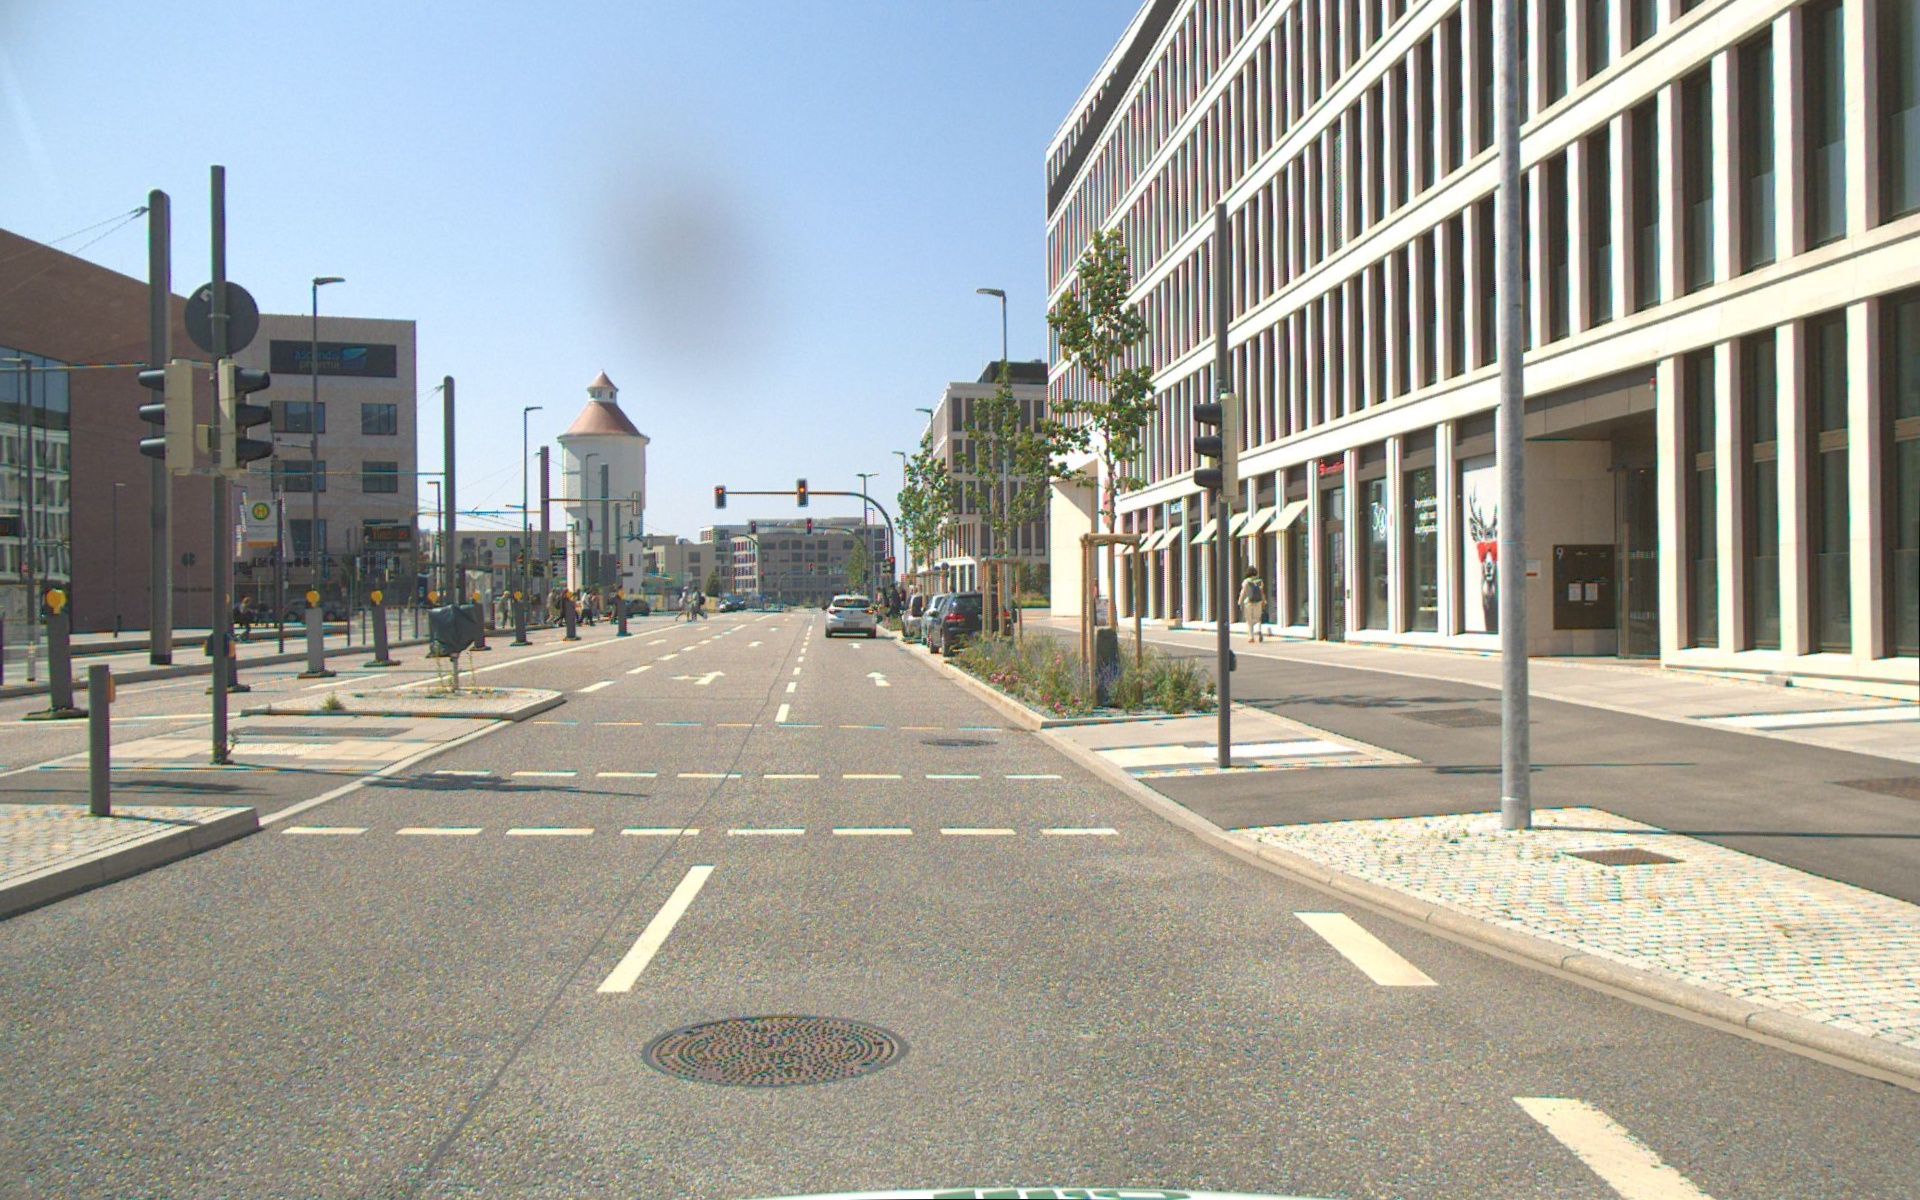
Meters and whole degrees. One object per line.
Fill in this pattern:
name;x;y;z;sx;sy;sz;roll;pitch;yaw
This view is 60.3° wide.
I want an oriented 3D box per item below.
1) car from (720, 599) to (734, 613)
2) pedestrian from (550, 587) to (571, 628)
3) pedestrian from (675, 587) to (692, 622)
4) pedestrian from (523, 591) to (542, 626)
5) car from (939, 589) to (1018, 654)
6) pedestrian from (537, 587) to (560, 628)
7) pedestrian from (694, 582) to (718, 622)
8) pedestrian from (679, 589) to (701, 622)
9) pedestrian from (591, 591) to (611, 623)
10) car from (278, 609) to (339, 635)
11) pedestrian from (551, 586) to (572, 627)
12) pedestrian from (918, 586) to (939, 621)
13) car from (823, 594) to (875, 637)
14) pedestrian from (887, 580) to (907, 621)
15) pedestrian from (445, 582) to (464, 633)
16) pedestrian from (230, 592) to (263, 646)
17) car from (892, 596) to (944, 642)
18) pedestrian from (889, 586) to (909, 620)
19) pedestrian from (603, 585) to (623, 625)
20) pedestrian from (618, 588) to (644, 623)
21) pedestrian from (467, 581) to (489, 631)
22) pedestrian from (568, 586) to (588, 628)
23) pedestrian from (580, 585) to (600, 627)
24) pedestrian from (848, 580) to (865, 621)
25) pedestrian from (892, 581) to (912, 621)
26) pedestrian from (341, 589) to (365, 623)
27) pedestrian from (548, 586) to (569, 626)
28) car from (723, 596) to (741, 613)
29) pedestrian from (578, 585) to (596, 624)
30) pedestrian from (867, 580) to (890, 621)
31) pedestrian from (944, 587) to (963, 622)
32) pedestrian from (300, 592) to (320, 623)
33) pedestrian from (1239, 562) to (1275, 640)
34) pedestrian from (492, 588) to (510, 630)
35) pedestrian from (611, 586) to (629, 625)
car;-26.502;0.709;187.937;1.557;1.557;3.251;0;-1;-8
pedestrian;-18.930;0.365;78.363;0.871;1.923;0.690;-1;0;-10
pedestrian;-13.836;0.229;82.692;0.751;1.764;0.691;-1;0;-4
pedestrian;-20.078;0.387;77.687;0.620;1.646;0.768;-1;0;1
car;0.403;0.518;40.252;1.702;1.500;3.978;0;-1;-3
pedestrian;-19.865;0.361;79.794;0.869;1.923;0.796;-1;0;0
pedestrian;-13.250;0.123;86.209;1.006;2.049;0.947;-1;0;-23
pedestrian;-14.007;0.293;85.749;0.881;1.703;1.006;-1;0;-23
pedestrian;-18.975;0.345;87.485;0.870;1.675;0.796;-1;0;-1
car;-46.603;1.564;118.325;3.878;1.848;1.790;0;-1;-17
pedestrian;-18.481;0.298;76.682;0.871;1.923;0.690;-1;0;-10
pedestrian;-1.504;0.153;79.062;0.871;1.663;0.690;-1;0;-10
car;-3.863;0.575;57.932;1.736;1.419;3.529;1;-1;-3
pedestrian;-3.001;0.005;78.722;0.871;1.923;0.794;-1;0;-10
pedestrian;-18.326;0.276;59.955;0.543;1.852;0.595;1;0;-26
pedestrian;-24.615;0.662;57.092;0.795;1.852;0.824;1;0;-5
car;-1.426;0.612;55.579;1.525;1.498;3.466;-1;0;-5
pedestrian;-3.030;0.142;82.105;0.873;1.675;0.793;-1;0;-15
pedestrian;-17.203;0.249;82.041;0.824;1.923;0.691;-1;0;-4
pedestrian;-17.294;0.281;87.037;1.157;1.852;1.068;-1;0;-1
pedestrian;-17.964;0.225;61.668;0.655;1.852;0.717;1;0;-28
pedestrian;-17.930;0.320;77.667;0.871;1.923;0.690;-1;0;-10
pedestrian;-17.158;0.282;76.701;0.871;1.923;0.690;-1;0;-10
pedestrian;-4.898;0.004;78.612;0.715;1.923;0.821;-1;0;1
pedestrian;-2.804;0.036;79.625;0.871;1.923;0.794;-1;0;-10
pedestrian;-34.365;0.323;93.664;0.869;1.923;0.985;-1;0;15
pedestrian;-19.605;0.292;80.782;0.870;1.923;0.795;-1;0;-5
car;-21.945;0.419;159.344;1.556;1.557;3.688;0;-1;-6
pedestrian;-18.621;0.219;82.578;0.719;1.923;0.713;1;-1;0
pedestrian;-3.826;0.032;77.546;0.994;1.923;0.797;-1;0;-8
pedestrian;-0.325;0.205;79.951;0.750;1.648;0.692;-1;0;12
pedestrian;-33.435;0.380;85.086;0.697;1.599;0.889;-1;0;-6
pedestrian;6.864;0.015;38.260;0.615;1.773;0.813;-1;0;-5
pedestrian;-21.365;0.414;77.025;0.624;1.923;0.796;-1;0;-3
pedestrian;-16.651;0.275;81.098;0.751;1.923;0.691;-1;0;-4
